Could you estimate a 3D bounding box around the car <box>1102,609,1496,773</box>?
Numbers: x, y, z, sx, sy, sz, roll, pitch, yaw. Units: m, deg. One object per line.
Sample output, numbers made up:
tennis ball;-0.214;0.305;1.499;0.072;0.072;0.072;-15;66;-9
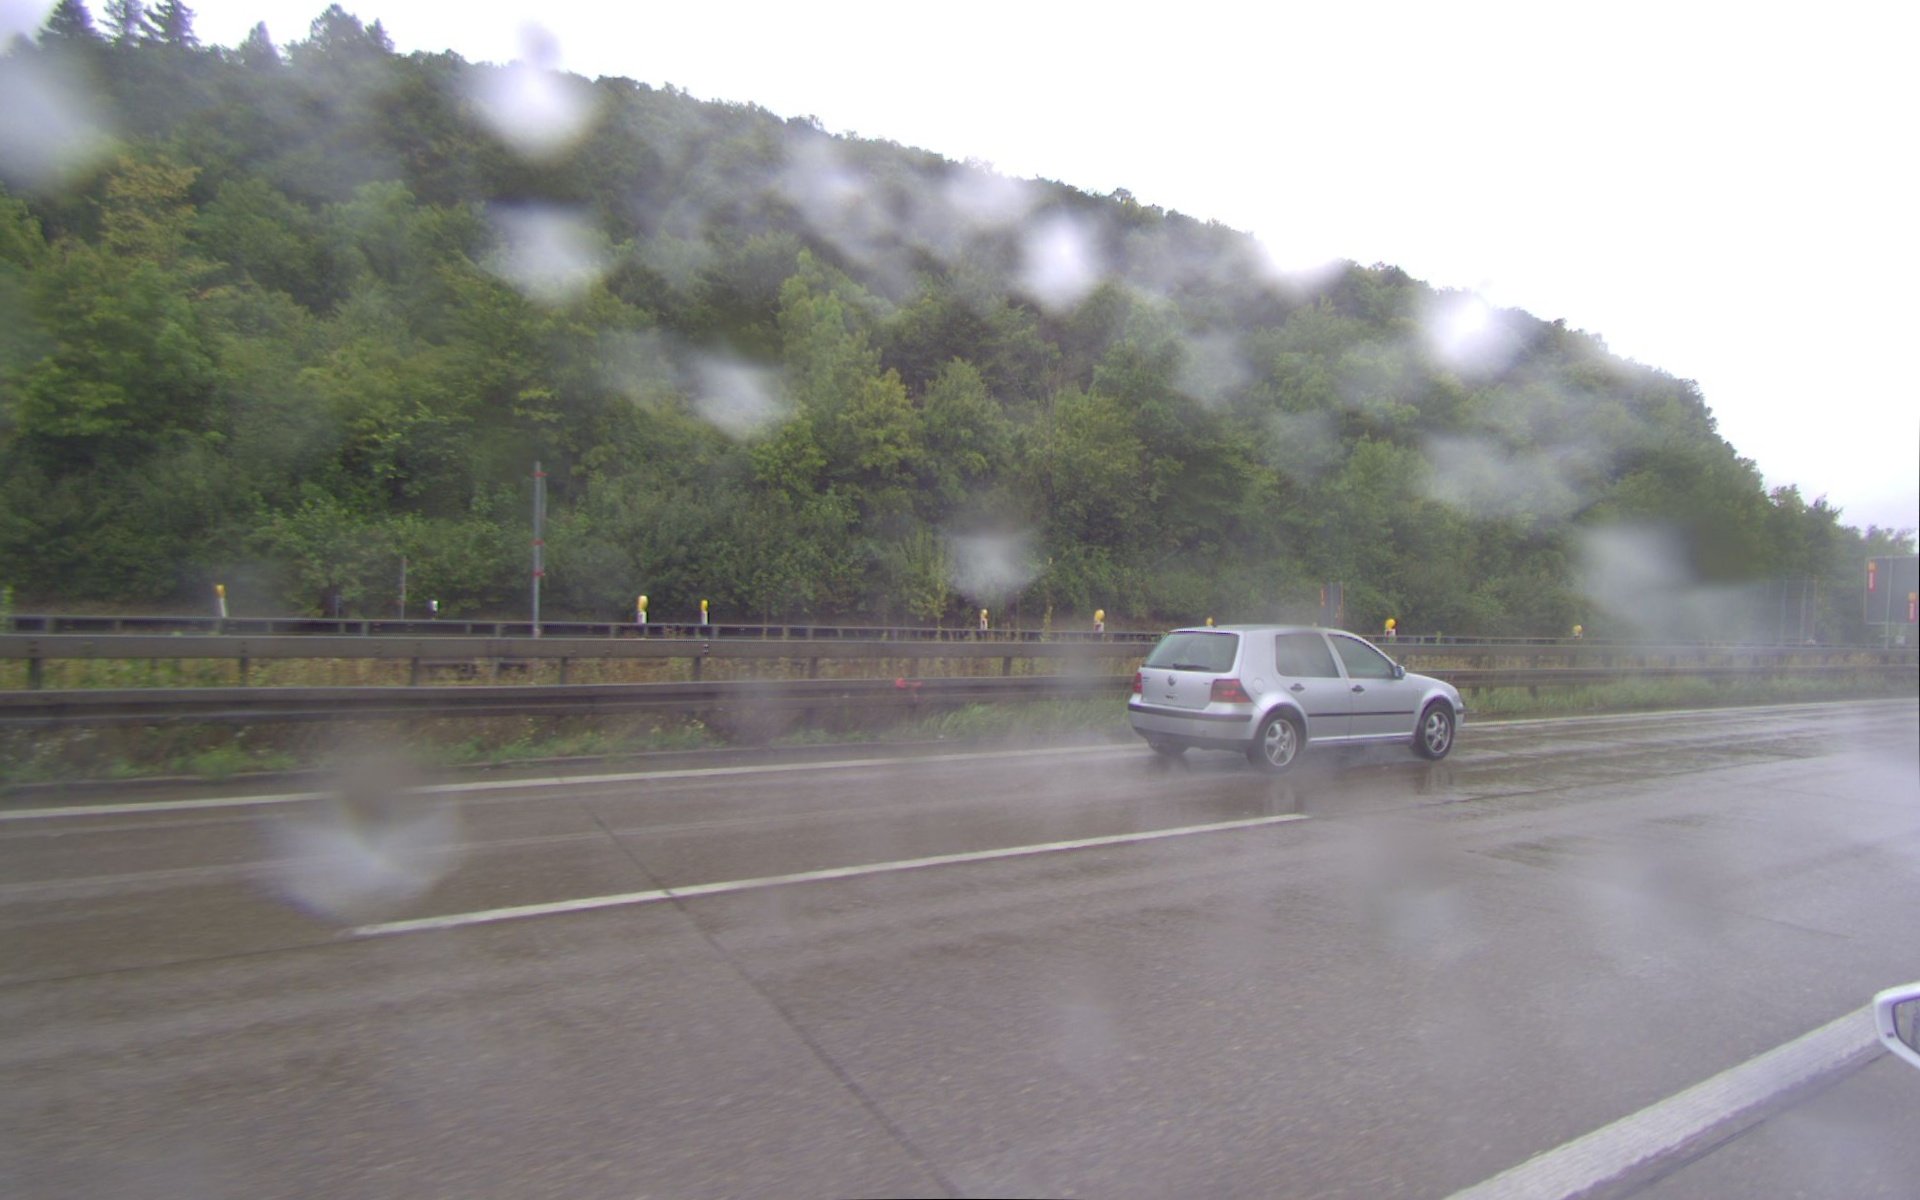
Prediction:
car;3.754;0.886;10.898;4.300;1.453;1.659;2;0;-31
